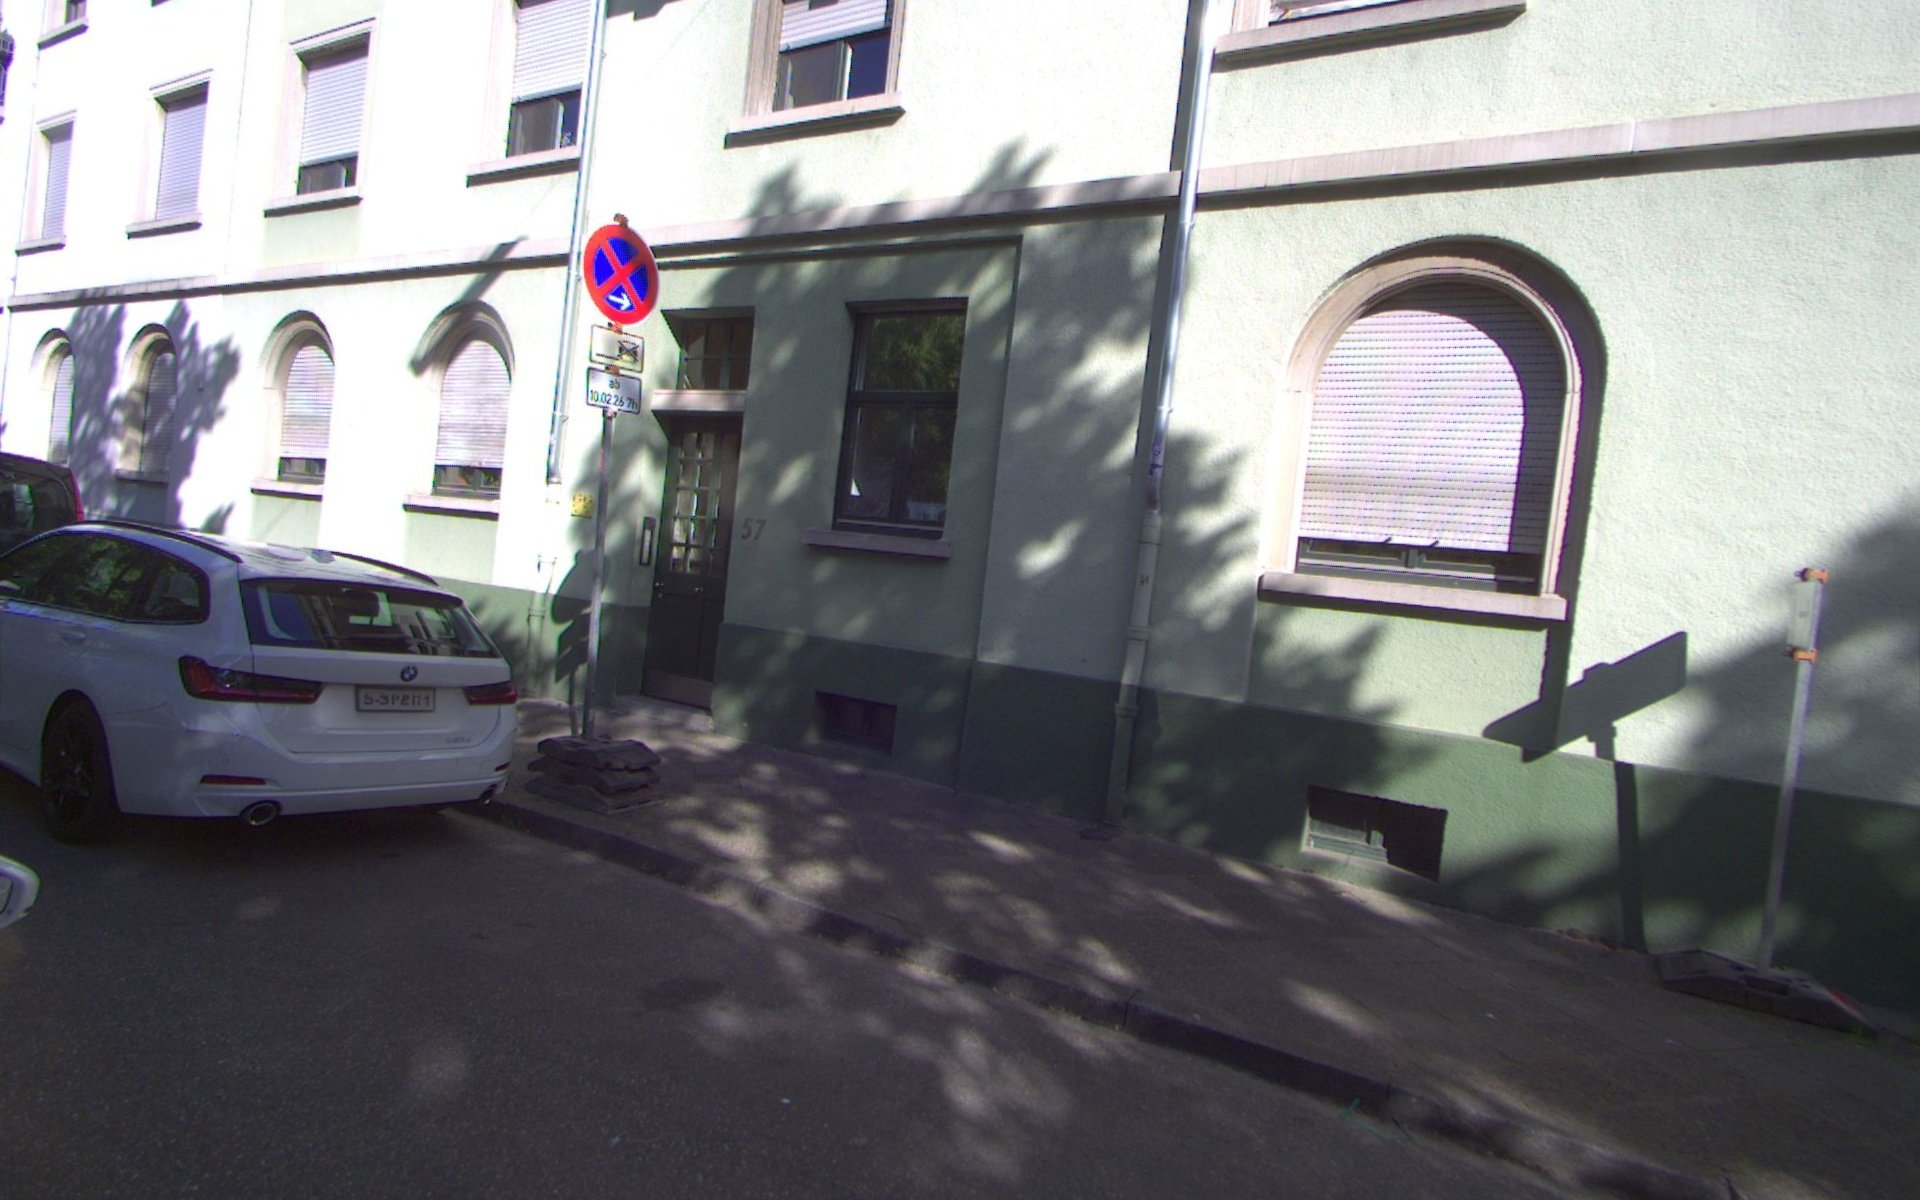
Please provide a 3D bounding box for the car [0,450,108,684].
[{"bbox_3d":[-9.305,-0.469,8.535,3.921,1.816,1.774,7,0,29],"label":"car"}]

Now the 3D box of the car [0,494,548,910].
[{"bbox_3d":[-4.522,0.290,5.711,4.211,1.530,1.707,7,0,30],"label":"car"}]
